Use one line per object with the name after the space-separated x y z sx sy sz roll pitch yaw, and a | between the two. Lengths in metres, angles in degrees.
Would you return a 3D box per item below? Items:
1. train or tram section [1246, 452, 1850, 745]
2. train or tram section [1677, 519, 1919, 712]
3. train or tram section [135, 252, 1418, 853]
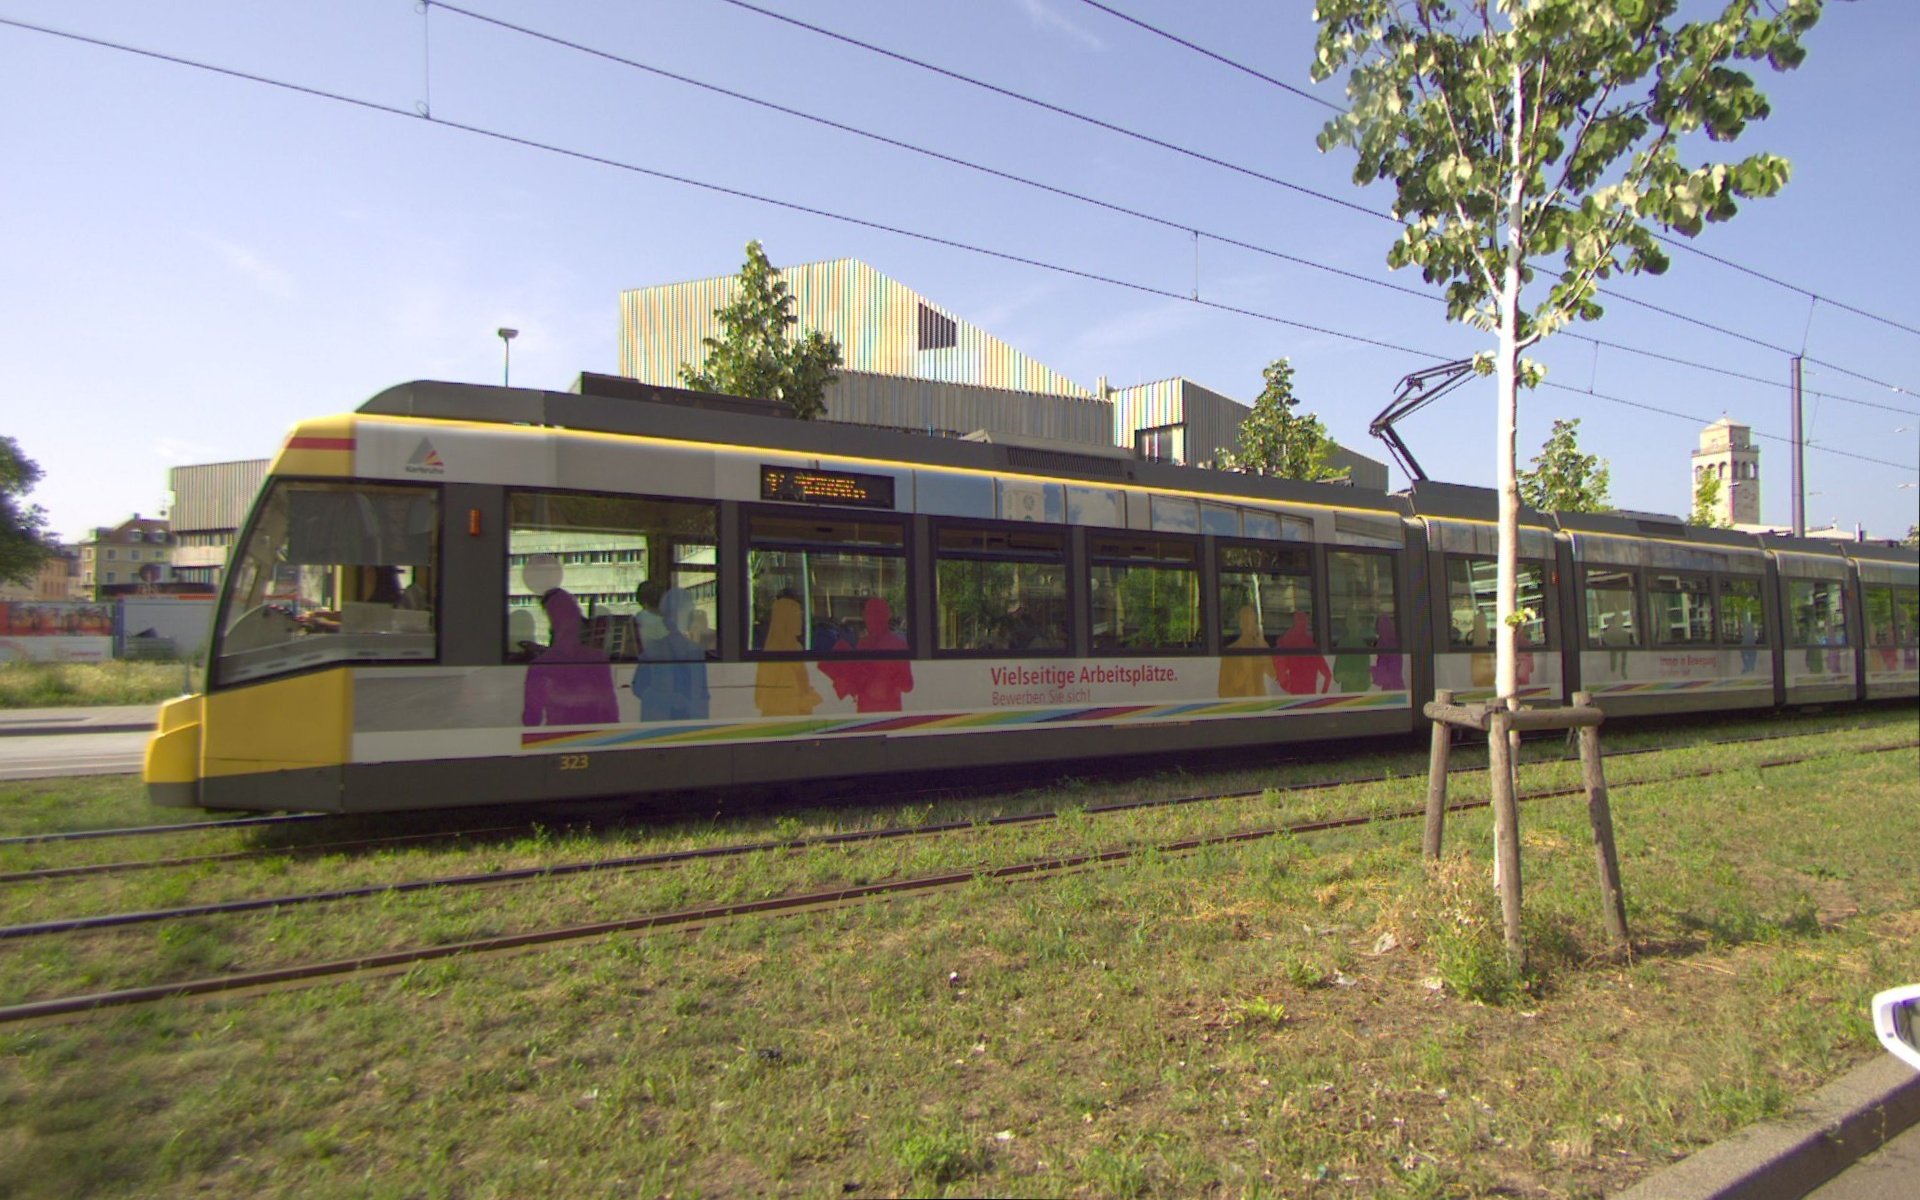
10.489 0.183 16.943 12.781 3.633 2.885 2 -3 -30 | train or tram section
21.254 0.479 23.209 12.081 3.633 2.885 2 -3 -30 | train or tram section
-0.356 -0.100 10.490 12.333 3.633 2.884 2 -3 -31 | train or tram section
